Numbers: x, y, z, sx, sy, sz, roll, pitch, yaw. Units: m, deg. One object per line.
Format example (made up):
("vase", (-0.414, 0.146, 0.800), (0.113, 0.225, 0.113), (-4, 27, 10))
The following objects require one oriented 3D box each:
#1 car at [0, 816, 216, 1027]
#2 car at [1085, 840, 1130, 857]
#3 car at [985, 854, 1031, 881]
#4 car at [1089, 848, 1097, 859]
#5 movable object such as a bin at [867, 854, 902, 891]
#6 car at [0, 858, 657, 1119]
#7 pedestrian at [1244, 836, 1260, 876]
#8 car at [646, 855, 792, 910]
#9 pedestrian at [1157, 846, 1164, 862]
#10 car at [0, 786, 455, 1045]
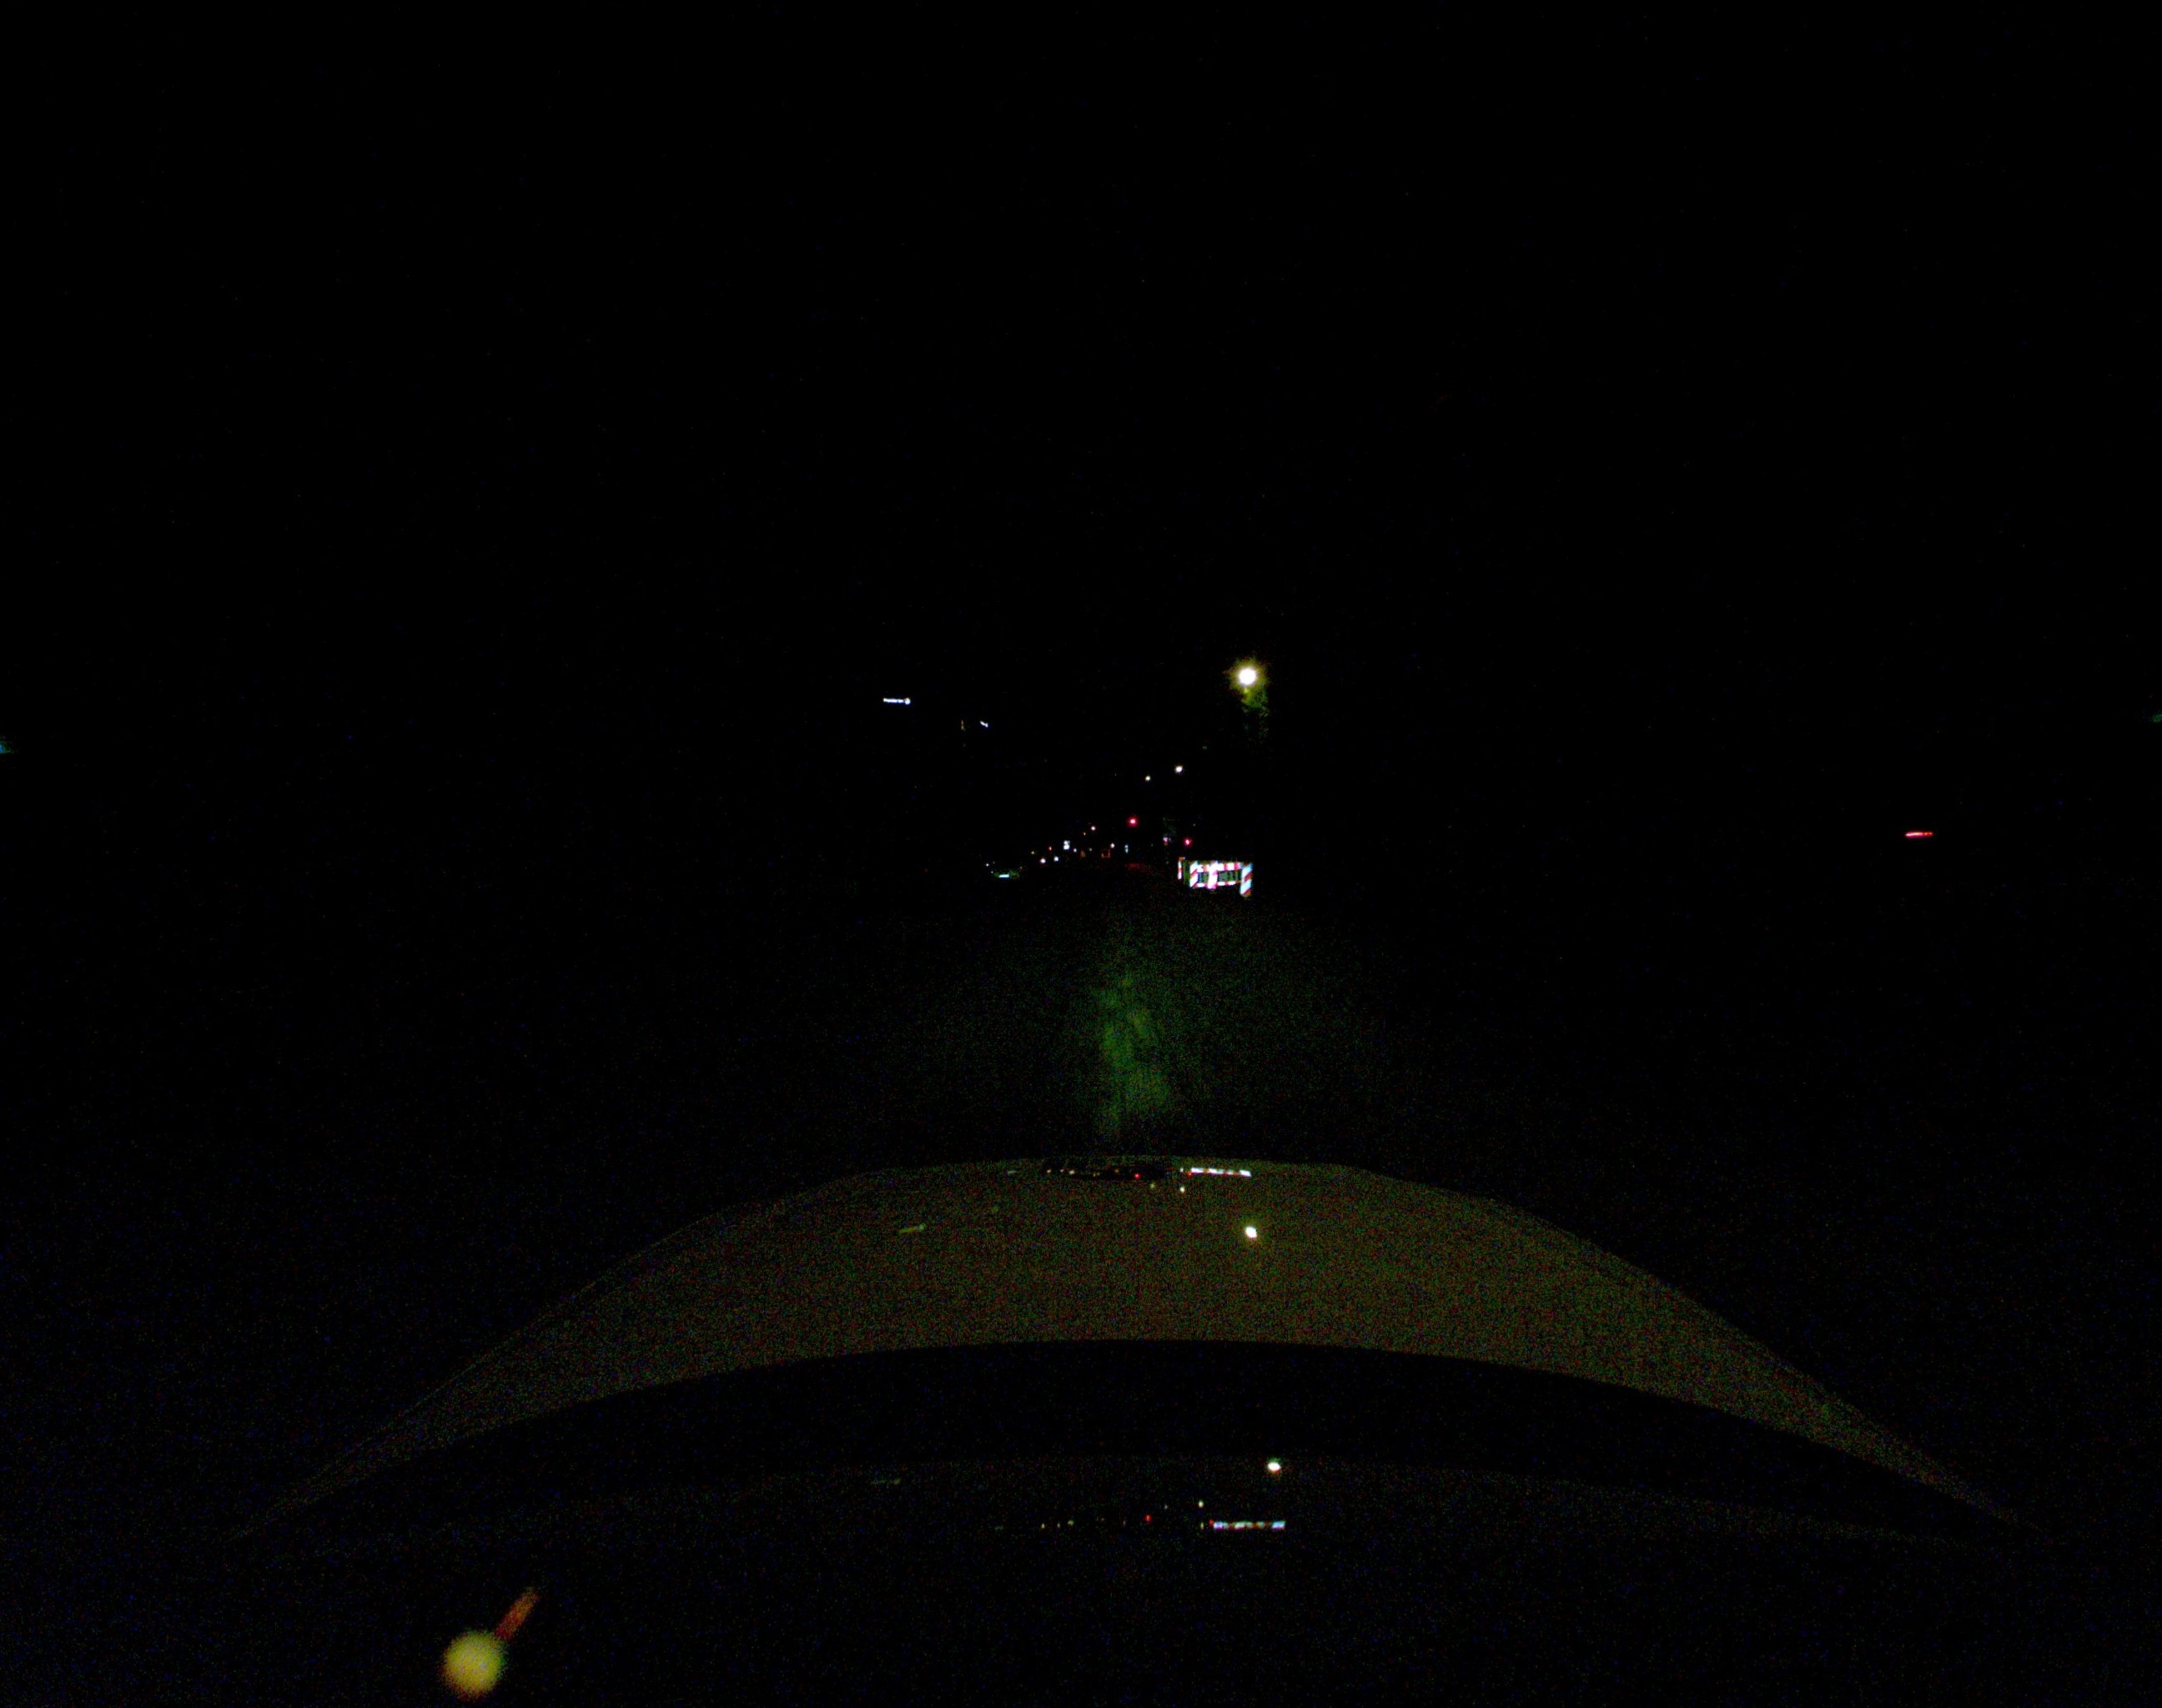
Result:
("car", (-13.035, 0.778, 8.769), (2.196, 2.321, 4.633), (-2, 0, 6))
("car", (7.771, -1.648, 240.923), (12.391, 4.709, 4.791), (-2, 0, -12))
("car", (-4.135, 0.736, 46.845), (1.903, 1.404, 4.342), (-2, 0, 3))
("car", (3.303, -0.141, 228.960), (1.989, 2.974, 3.996), (-2, 0, -2))
("movable object such as a bin", (-8.259, 0.765, 34.327), (1.160, 1.496, 1.065), (-2, 0, 0))
("car", (-5.891, 0.844, 7.127), (1.747, 1.526, 4.329), (-2, 0, 5))
("pedestrian", (8.071, 0.098, 38.529), (0.568, 1.852, 0.821), (-2, 0, 3))
("car", (-11.937, 0.914, 27.028), (3.971, 1.571, 1.818), (-2, 0, 2))
("pedestrian", (10.112, 0.014, 103.717), (0.738, 1.981, 0.623), (-2, 0, -14))
("car", (-10.447, 0.588, 9.476), (1.983, 2.321, 4.976), (-3, 0, 7))
